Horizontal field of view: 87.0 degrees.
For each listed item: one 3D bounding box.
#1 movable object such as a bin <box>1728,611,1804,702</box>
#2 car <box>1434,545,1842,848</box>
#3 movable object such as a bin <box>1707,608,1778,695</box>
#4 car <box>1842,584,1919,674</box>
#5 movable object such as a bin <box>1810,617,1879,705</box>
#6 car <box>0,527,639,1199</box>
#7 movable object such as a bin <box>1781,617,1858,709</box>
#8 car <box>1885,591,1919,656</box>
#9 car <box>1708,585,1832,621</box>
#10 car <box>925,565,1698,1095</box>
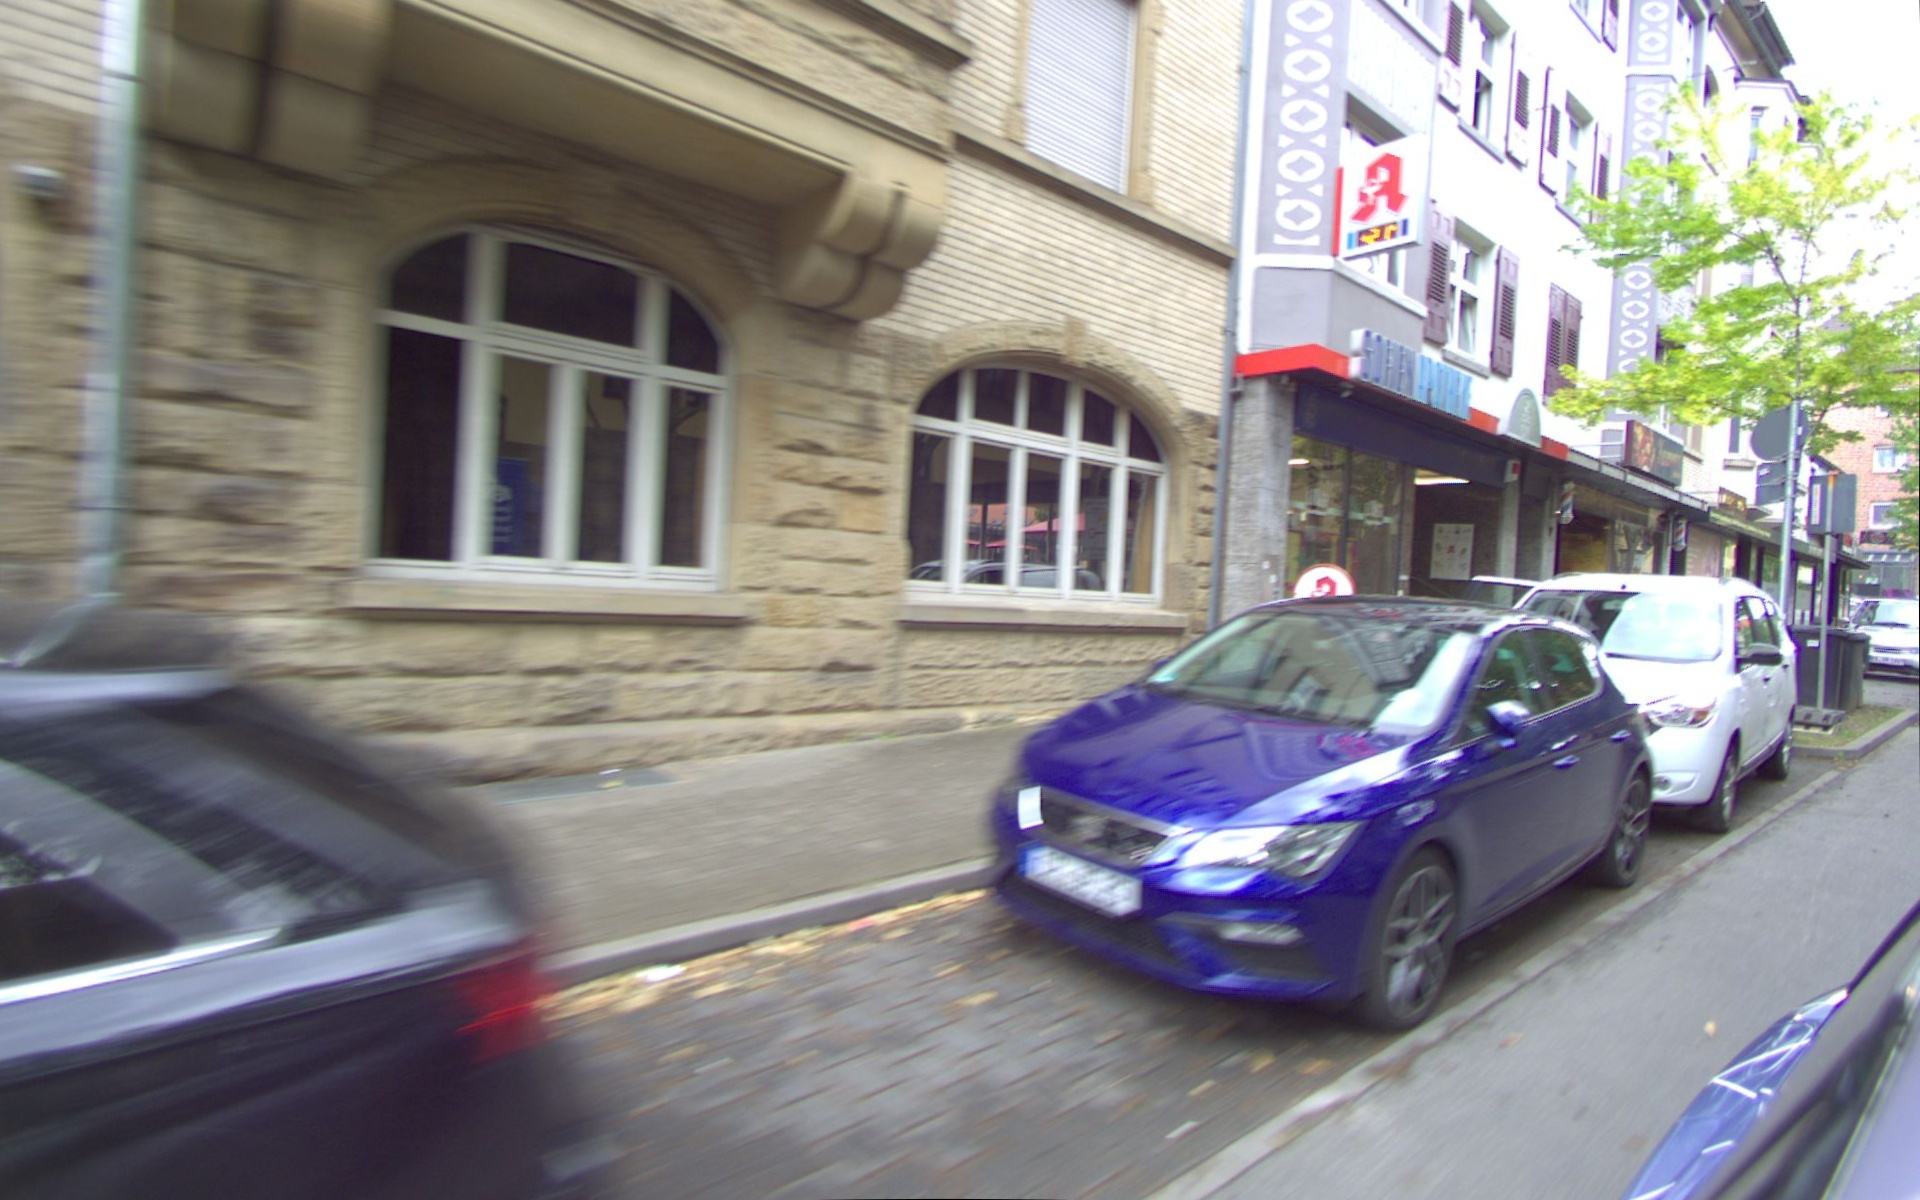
[{"bbox_3d":[10.576,0.728,13.285,0.694,1.086,0.615,6,4,40],"label":"movable object such as a bin"},{"bbox_3d":[5.503,0.512,7.942,4.469,1.683,1.681,0,4,-44],"label":"car"},{"bbox_3d":[9.968,0.641,12.896,0.613,1.037,0.578,0,1,-40],"label":"movable object such as a bin"},{"bbox_3d":[18.474,0.541,19.630,3.460,1.553,1.485,1,3,-40],"label":"car"},{"bbox_3d":[11.289,0.756,12.928,0.622,1.037,0.686,3,2,41],"label":"movable object such as a bin"},{"bbox_3d":[-2.788,0.642,0.527,4.695,1.480,1.741,0,4,-43],"label":"car"},{"bbox_3d":[10.463,0.748,12.322,0.685,1.037,0.623,0,2,-43],"label":"movable object such as a bin"},{"bbox_3d":[23.408,0.575,23.999,3.971,1.432,1.687,0,3,-41],"label":"car"},{"bbox_3d":[34.843,0.112,43.654,1.668,1.469,3.892,0,0,-16],"label":"car"},{"bbox_3d":[1.977,0.621,4.835,4.203,1.414,1.609,0,4,-42],"label":"car"}]
